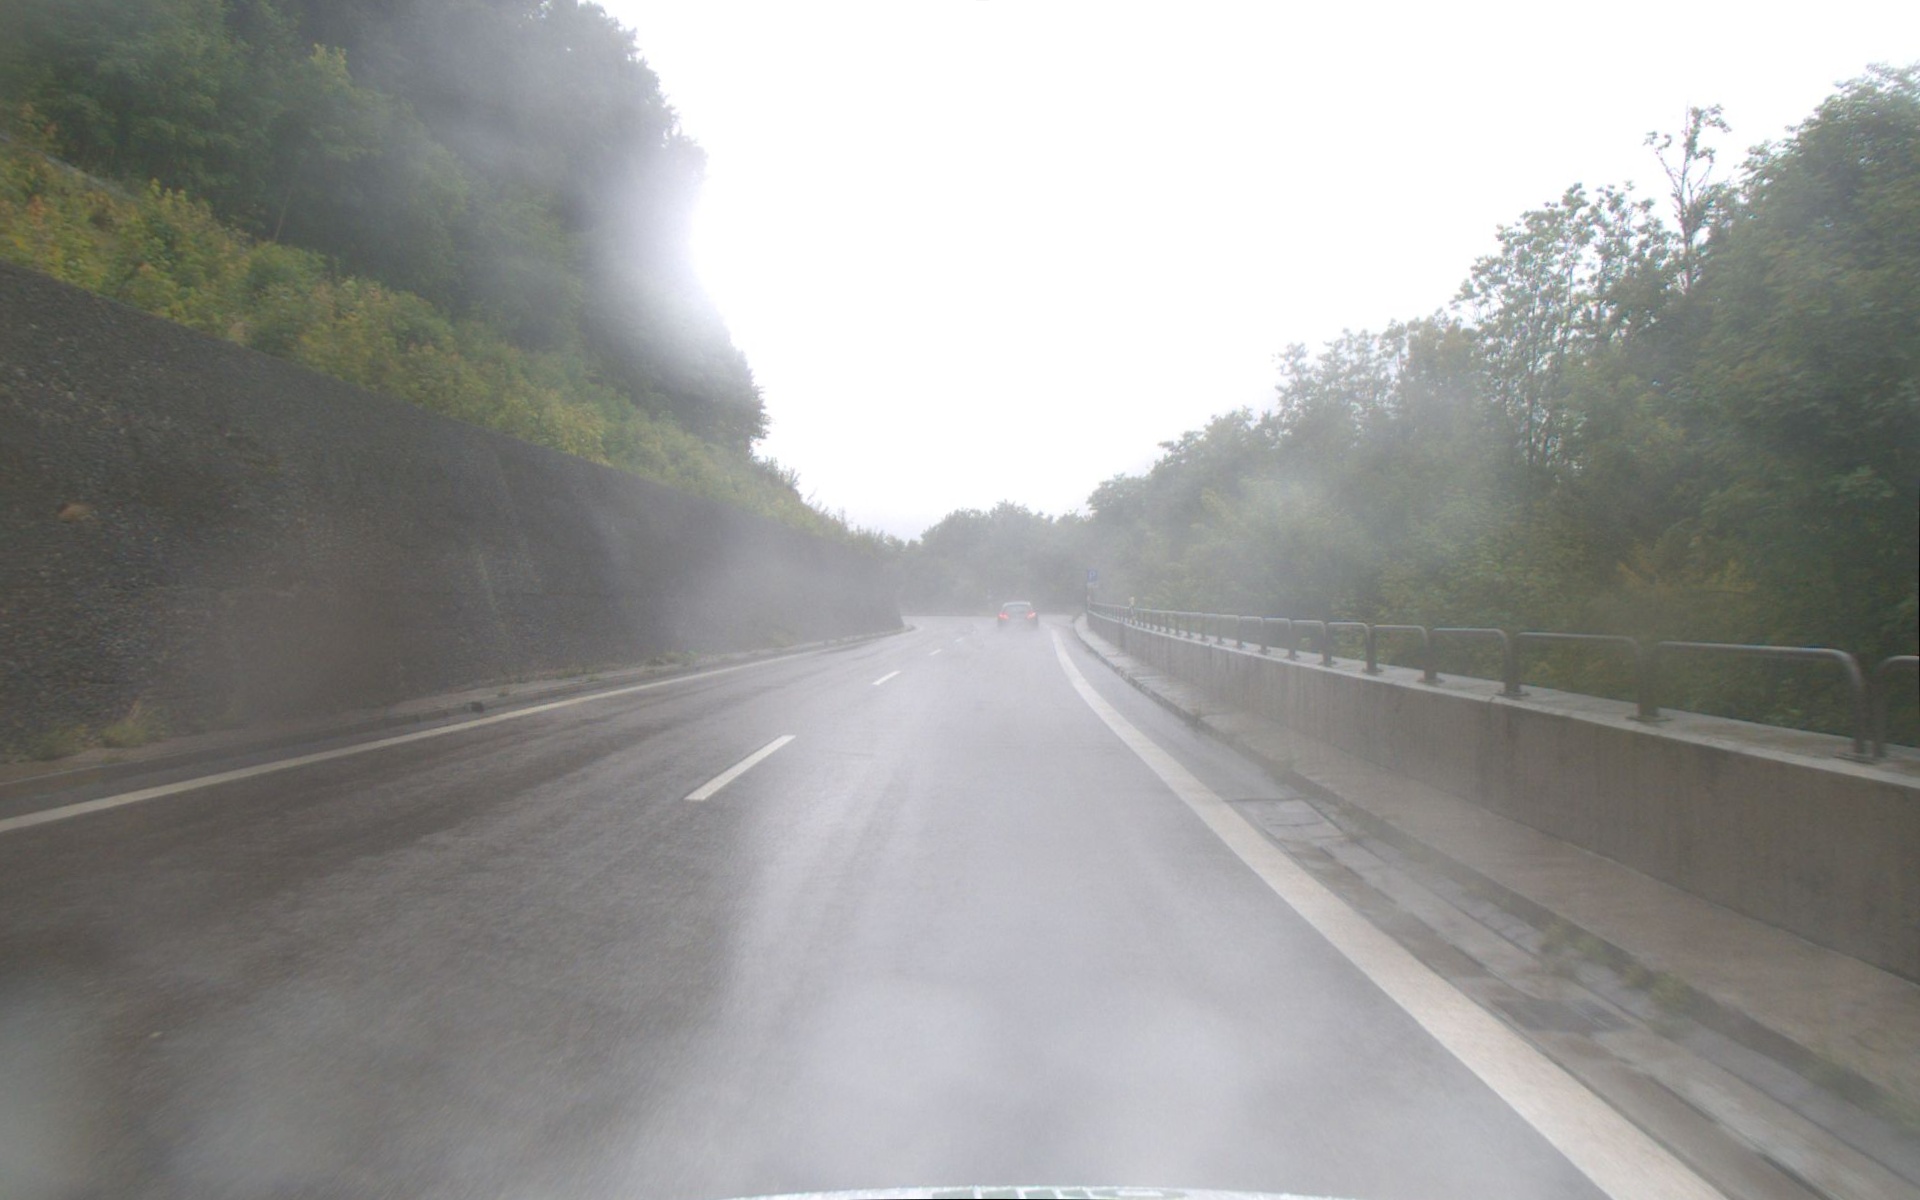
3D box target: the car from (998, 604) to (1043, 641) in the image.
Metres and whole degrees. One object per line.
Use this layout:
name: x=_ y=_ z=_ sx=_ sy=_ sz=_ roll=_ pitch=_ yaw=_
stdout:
car: x=2.591 y=0.944 z=71.708 sx=1.864 sy=1.525 sz=4.001 roll=-1 pitch=0 yaw=1
